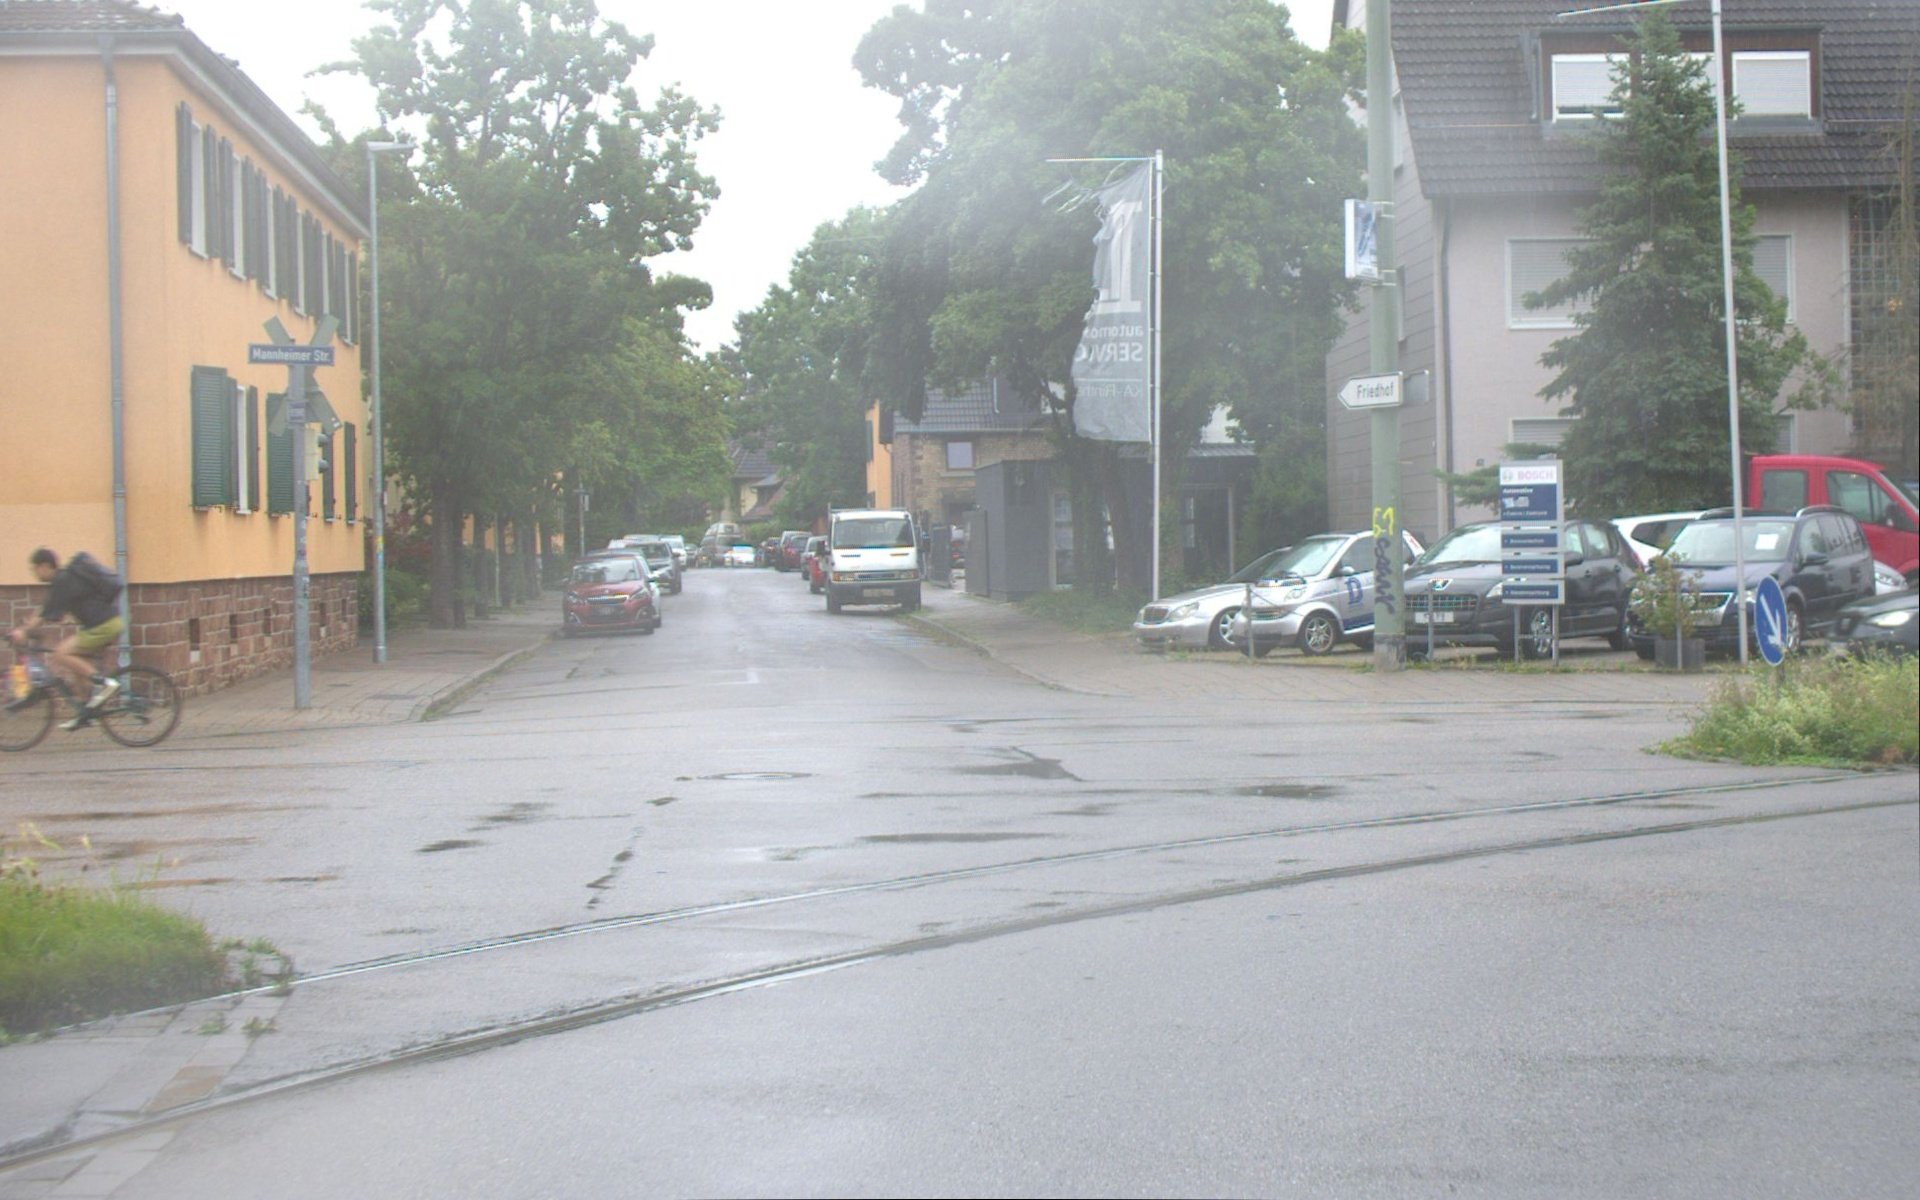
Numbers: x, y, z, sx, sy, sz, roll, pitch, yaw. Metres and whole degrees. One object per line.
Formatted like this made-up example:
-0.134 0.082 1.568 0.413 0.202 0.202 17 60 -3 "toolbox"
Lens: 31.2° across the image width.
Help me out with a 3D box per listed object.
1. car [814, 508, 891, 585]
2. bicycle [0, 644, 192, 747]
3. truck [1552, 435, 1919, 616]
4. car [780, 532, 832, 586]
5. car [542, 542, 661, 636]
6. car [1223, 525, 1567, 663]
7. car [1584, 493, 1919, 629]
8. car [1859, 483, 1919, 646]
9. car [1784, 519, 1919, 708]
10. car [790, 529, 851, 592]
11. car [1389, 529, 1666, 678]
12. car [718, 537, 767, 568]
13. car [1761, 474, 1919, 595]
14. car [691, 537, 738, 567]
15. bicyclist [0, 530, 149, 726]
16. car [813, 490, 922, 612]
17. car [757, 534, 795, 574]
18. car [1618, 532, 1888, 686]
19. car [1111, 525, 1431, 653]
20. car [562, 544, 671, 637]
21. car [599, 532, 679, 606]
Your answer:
-2.927 -1.442 93.184 1.993 2.007 4.000 1 1 -2 "car"
-7.489 0.805 29.008 1.813 0.784 0.942 -2 1 -3 "bicycle"
11.200 -0.993 46.336 6.088 2.264 1.998 -1 0 18 "truck"
-5.893 -1.567 130.824 1.828 2.007 4.001 1 1 -4 "car"
-6.494 -0.212 62.644 1.993 1.612 4.001 -1 0 -4 "car"
5.472 -0.089 43.313 3.858 1.573 1.808 -2 1 -21 "car"
10.091 -0.484 43.709 3.969 1.592 1.998 -1 0 18 "car"
11.450 -0.432 37.719 1.997 1.711 3.993 -1 1 31 "car"
9.007 0.047 28.094 3.986 1.471 2.000 -1 1 -3 "car"
-4.600 -1.315 113.139 1.828 2.007 4.001 1 1 -4 "car"
6.566 0.014 39.486 1.805 1.573 3.865 -1 1 31 "car"
-12.399 -2.704 195.649 1.828 1.691 4.033 1 1 -18 "car"
14.026 -0.955 49.626 4.432 1.682 2.000 -1 0 1 "car"
-14.362 -2.823 201.031 1.828 1.691 4.033 1 1 -18 "car"
-7.480 0.228 28.997 1.039 1.592 0.950 -2 1 -3 "bicyclist"
-2.063 -1.086 75.309 2.153 2.564 4.134 1 1 -4 "car"
-9.492 -2.365 177.440 1.828 2.007 4.001 1 1 -4 "car"
8.908 0.072 38.402 1.805 1.573 3.865 -1 1 31 "car"
4.193 -0.160 46.410 3.858 1.573 1.808 -2 1 -21 "car"
-6.712 -0.203 67.553 1.993 1.744 4.001 -1 0 -4 "car"
-9.038 -0.884 97.030 1.993 2.007 4.000 1 1 -2 "car"
